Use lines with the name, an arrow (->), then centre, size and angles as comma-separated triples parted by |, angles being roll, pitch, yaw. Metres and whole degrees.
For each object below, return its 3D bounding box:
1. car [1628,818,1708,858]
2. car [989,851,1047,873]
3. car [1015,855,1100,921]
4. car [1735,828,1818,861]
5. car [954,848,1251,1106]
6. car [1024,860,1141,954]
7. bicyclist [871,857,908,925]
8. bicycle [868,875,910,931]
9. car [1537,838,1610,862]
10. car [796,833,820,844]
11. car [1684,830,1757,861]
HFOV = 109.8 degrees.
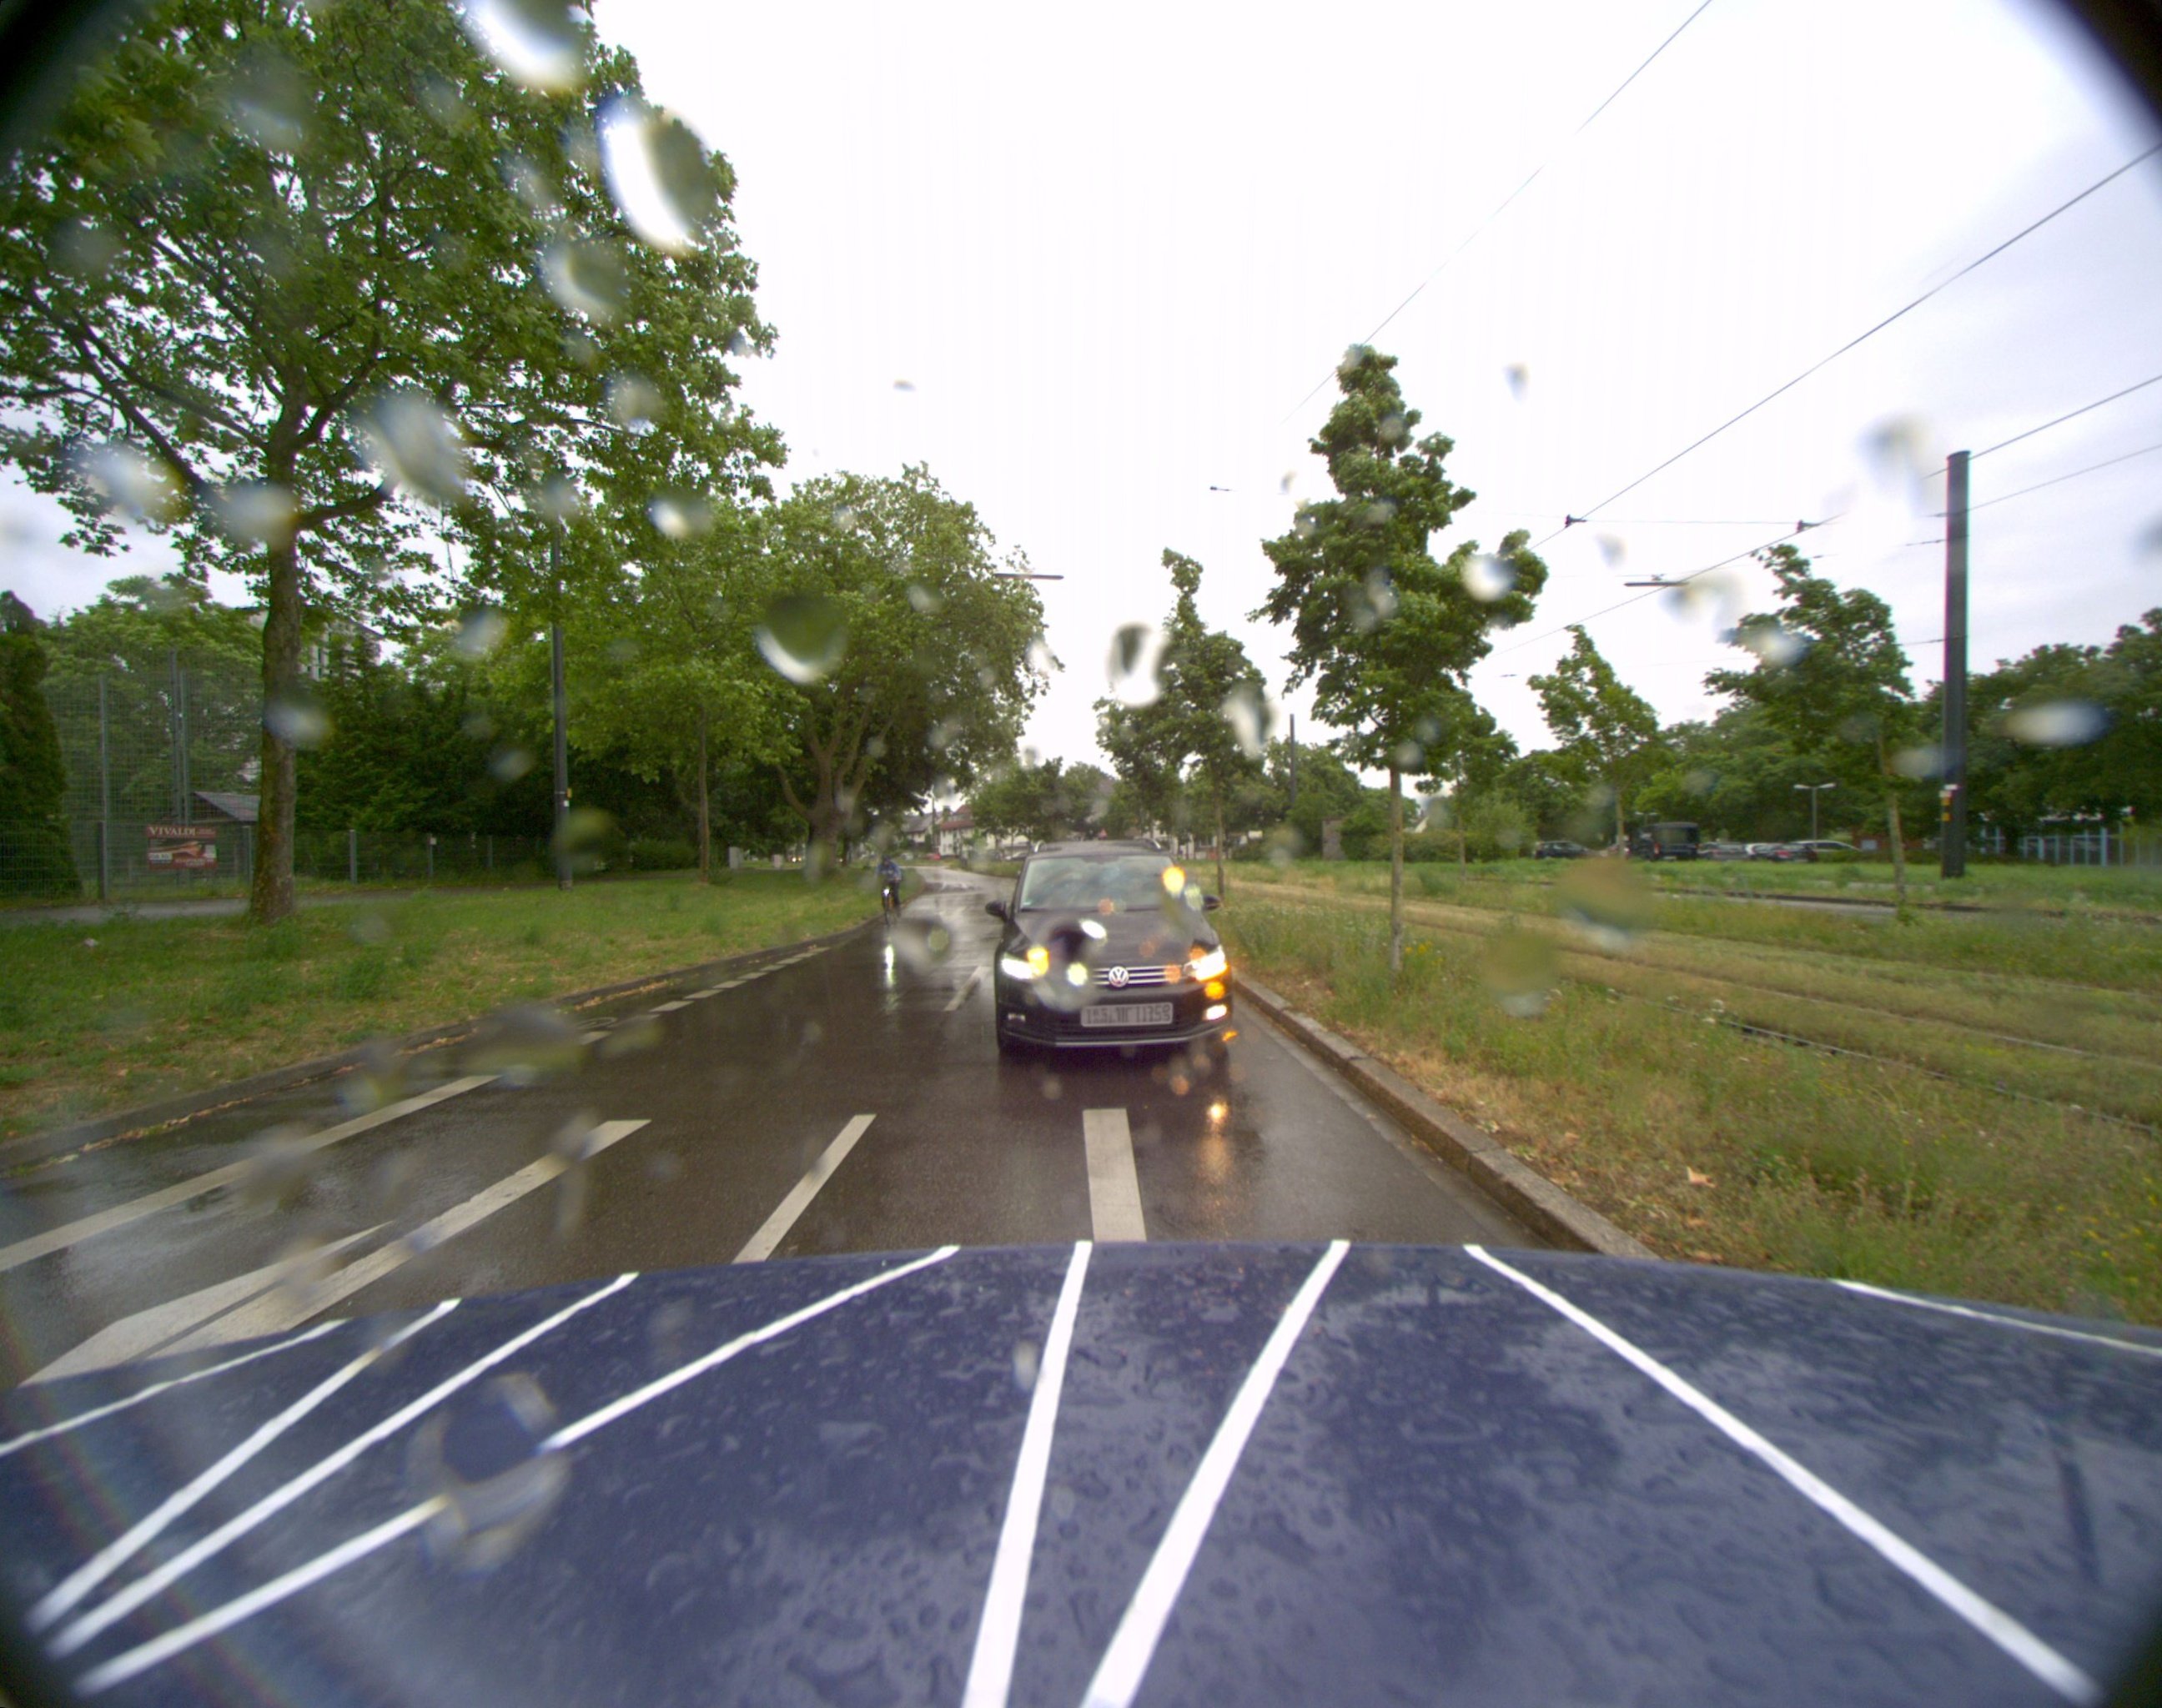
car -> 31.996, -0.878, 41.599 | 2.307, 2.002, 5.125 | -2, 1, 24
car -> -4.654, 0.566, 55.565 | 4.046, 1.412, 1.674 | -2, 1, -10
car -> -0.681, 0.761, 19.080 | 1.789, 1.396, 3.791 | -2, 1, -6
car -> 36.547, -0.539, 40.090 | 2.057, 1.564, 5.024 | -2, 1, 29
car -> 0.168, 0.782, 7.181 | 1.866, 1.592, 4.524 | -2, 1, 1
car -> -0.040, 0.850, 13.987 | 1.788, 1.355, 3.996 | -2, 1, -2
bicyclist -> -4.406, 0.829, 17.508 | 0.693, 1.497, 0.843 | -2, 2, -8
bicycle -> -4.400, 1.099, 17.519 | 0.693, 1.110, 1.883 | -2, 1, -8
car -> 34.758, -0.284, 53.751 | 4.172, 1.474, 1.786 | -2, 1, 27
car -> -51.647, -2.963, 143.858 | 4.004, 1.816, 1.996 | -3, 1, -24
car -> 34.638, -0.481, 41.283 | 1.752, 1.522, 4.856 | -2, 1, 24
